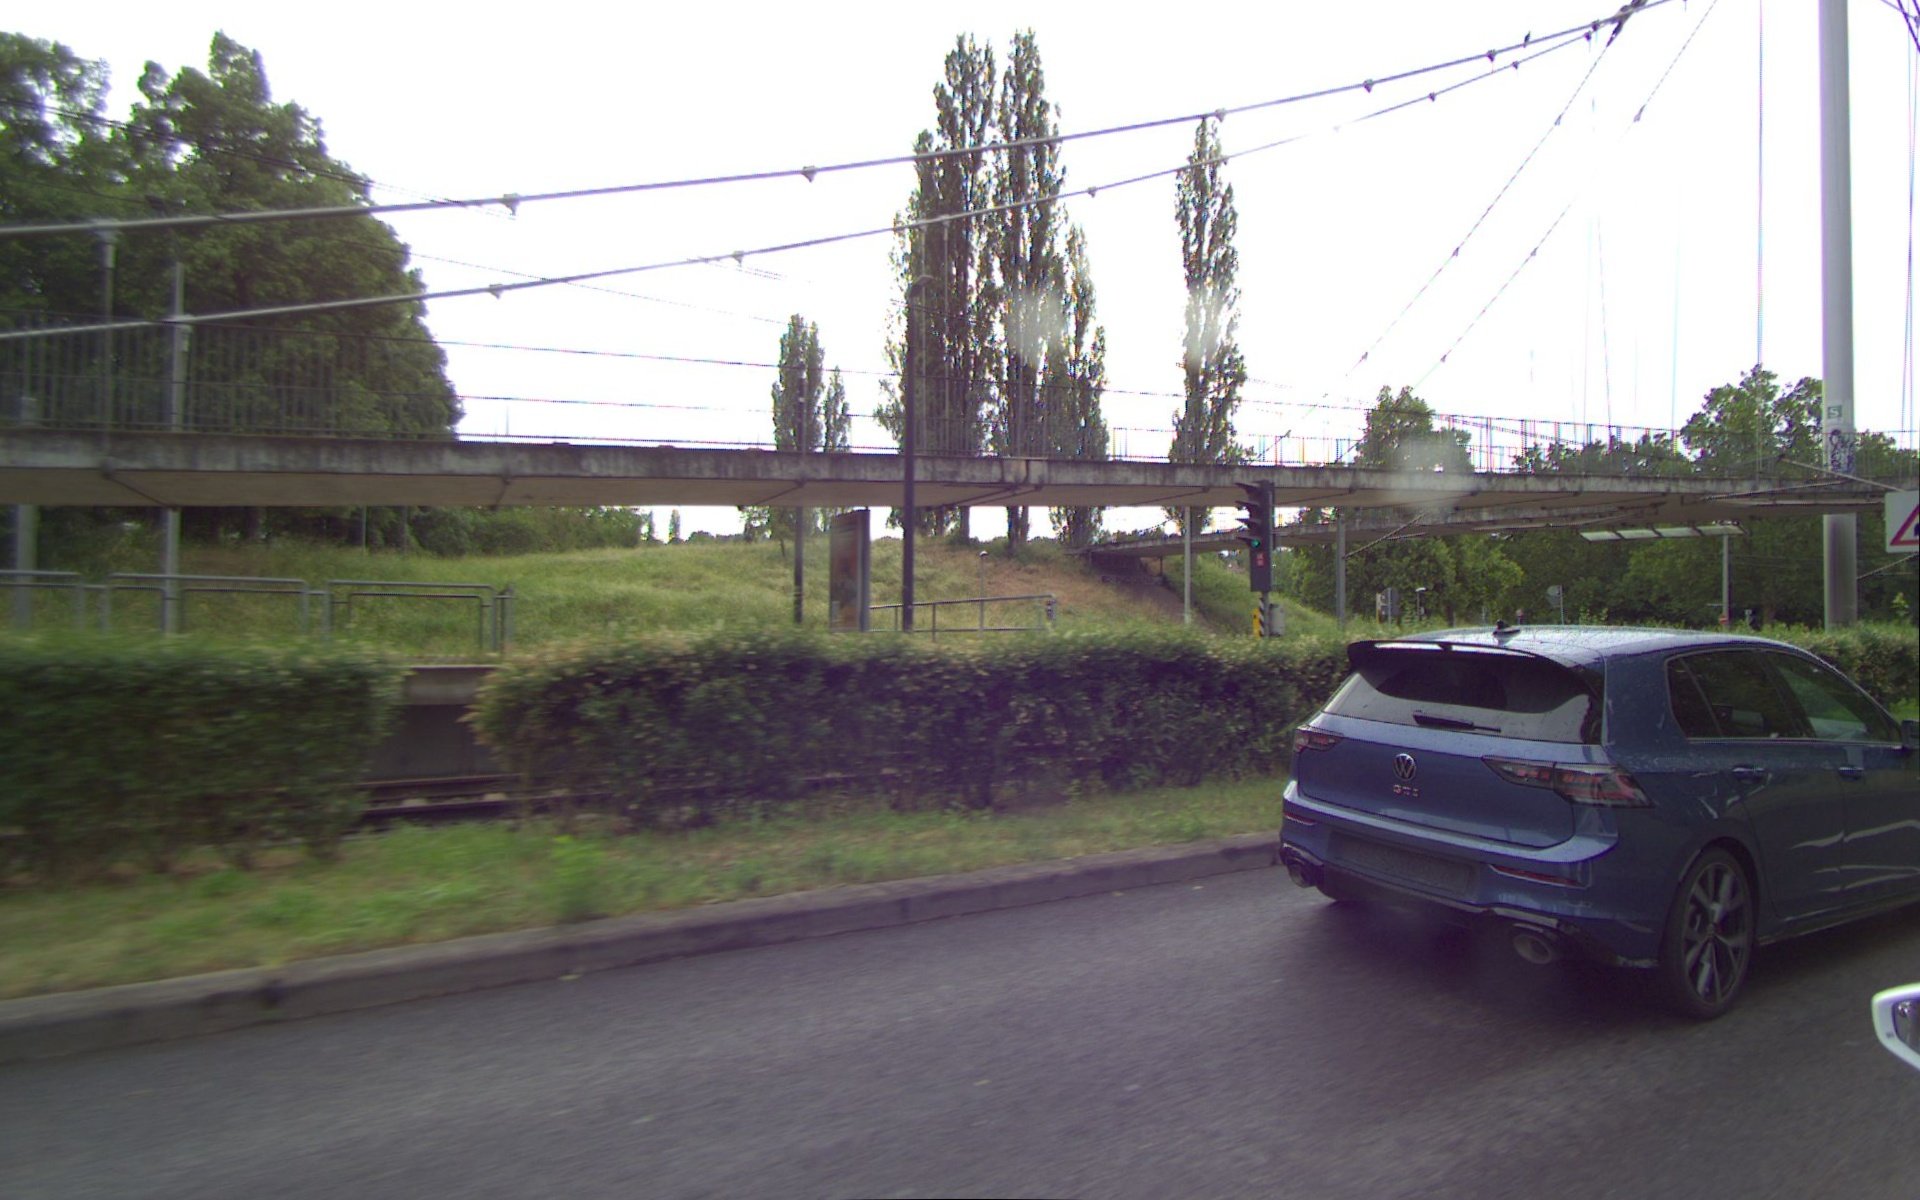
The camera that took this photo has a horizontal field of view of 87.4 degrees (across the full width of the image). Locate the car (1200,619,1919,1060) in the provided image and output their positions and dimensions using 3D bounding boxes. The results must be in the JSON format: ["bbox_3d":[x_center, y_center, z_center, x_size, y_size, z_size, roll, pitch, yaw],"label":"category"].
[{"bbox_3d":[3.467,0.850,5.131,4.295,1.397,1.800,2,-1,-30],"label":"car"}]
